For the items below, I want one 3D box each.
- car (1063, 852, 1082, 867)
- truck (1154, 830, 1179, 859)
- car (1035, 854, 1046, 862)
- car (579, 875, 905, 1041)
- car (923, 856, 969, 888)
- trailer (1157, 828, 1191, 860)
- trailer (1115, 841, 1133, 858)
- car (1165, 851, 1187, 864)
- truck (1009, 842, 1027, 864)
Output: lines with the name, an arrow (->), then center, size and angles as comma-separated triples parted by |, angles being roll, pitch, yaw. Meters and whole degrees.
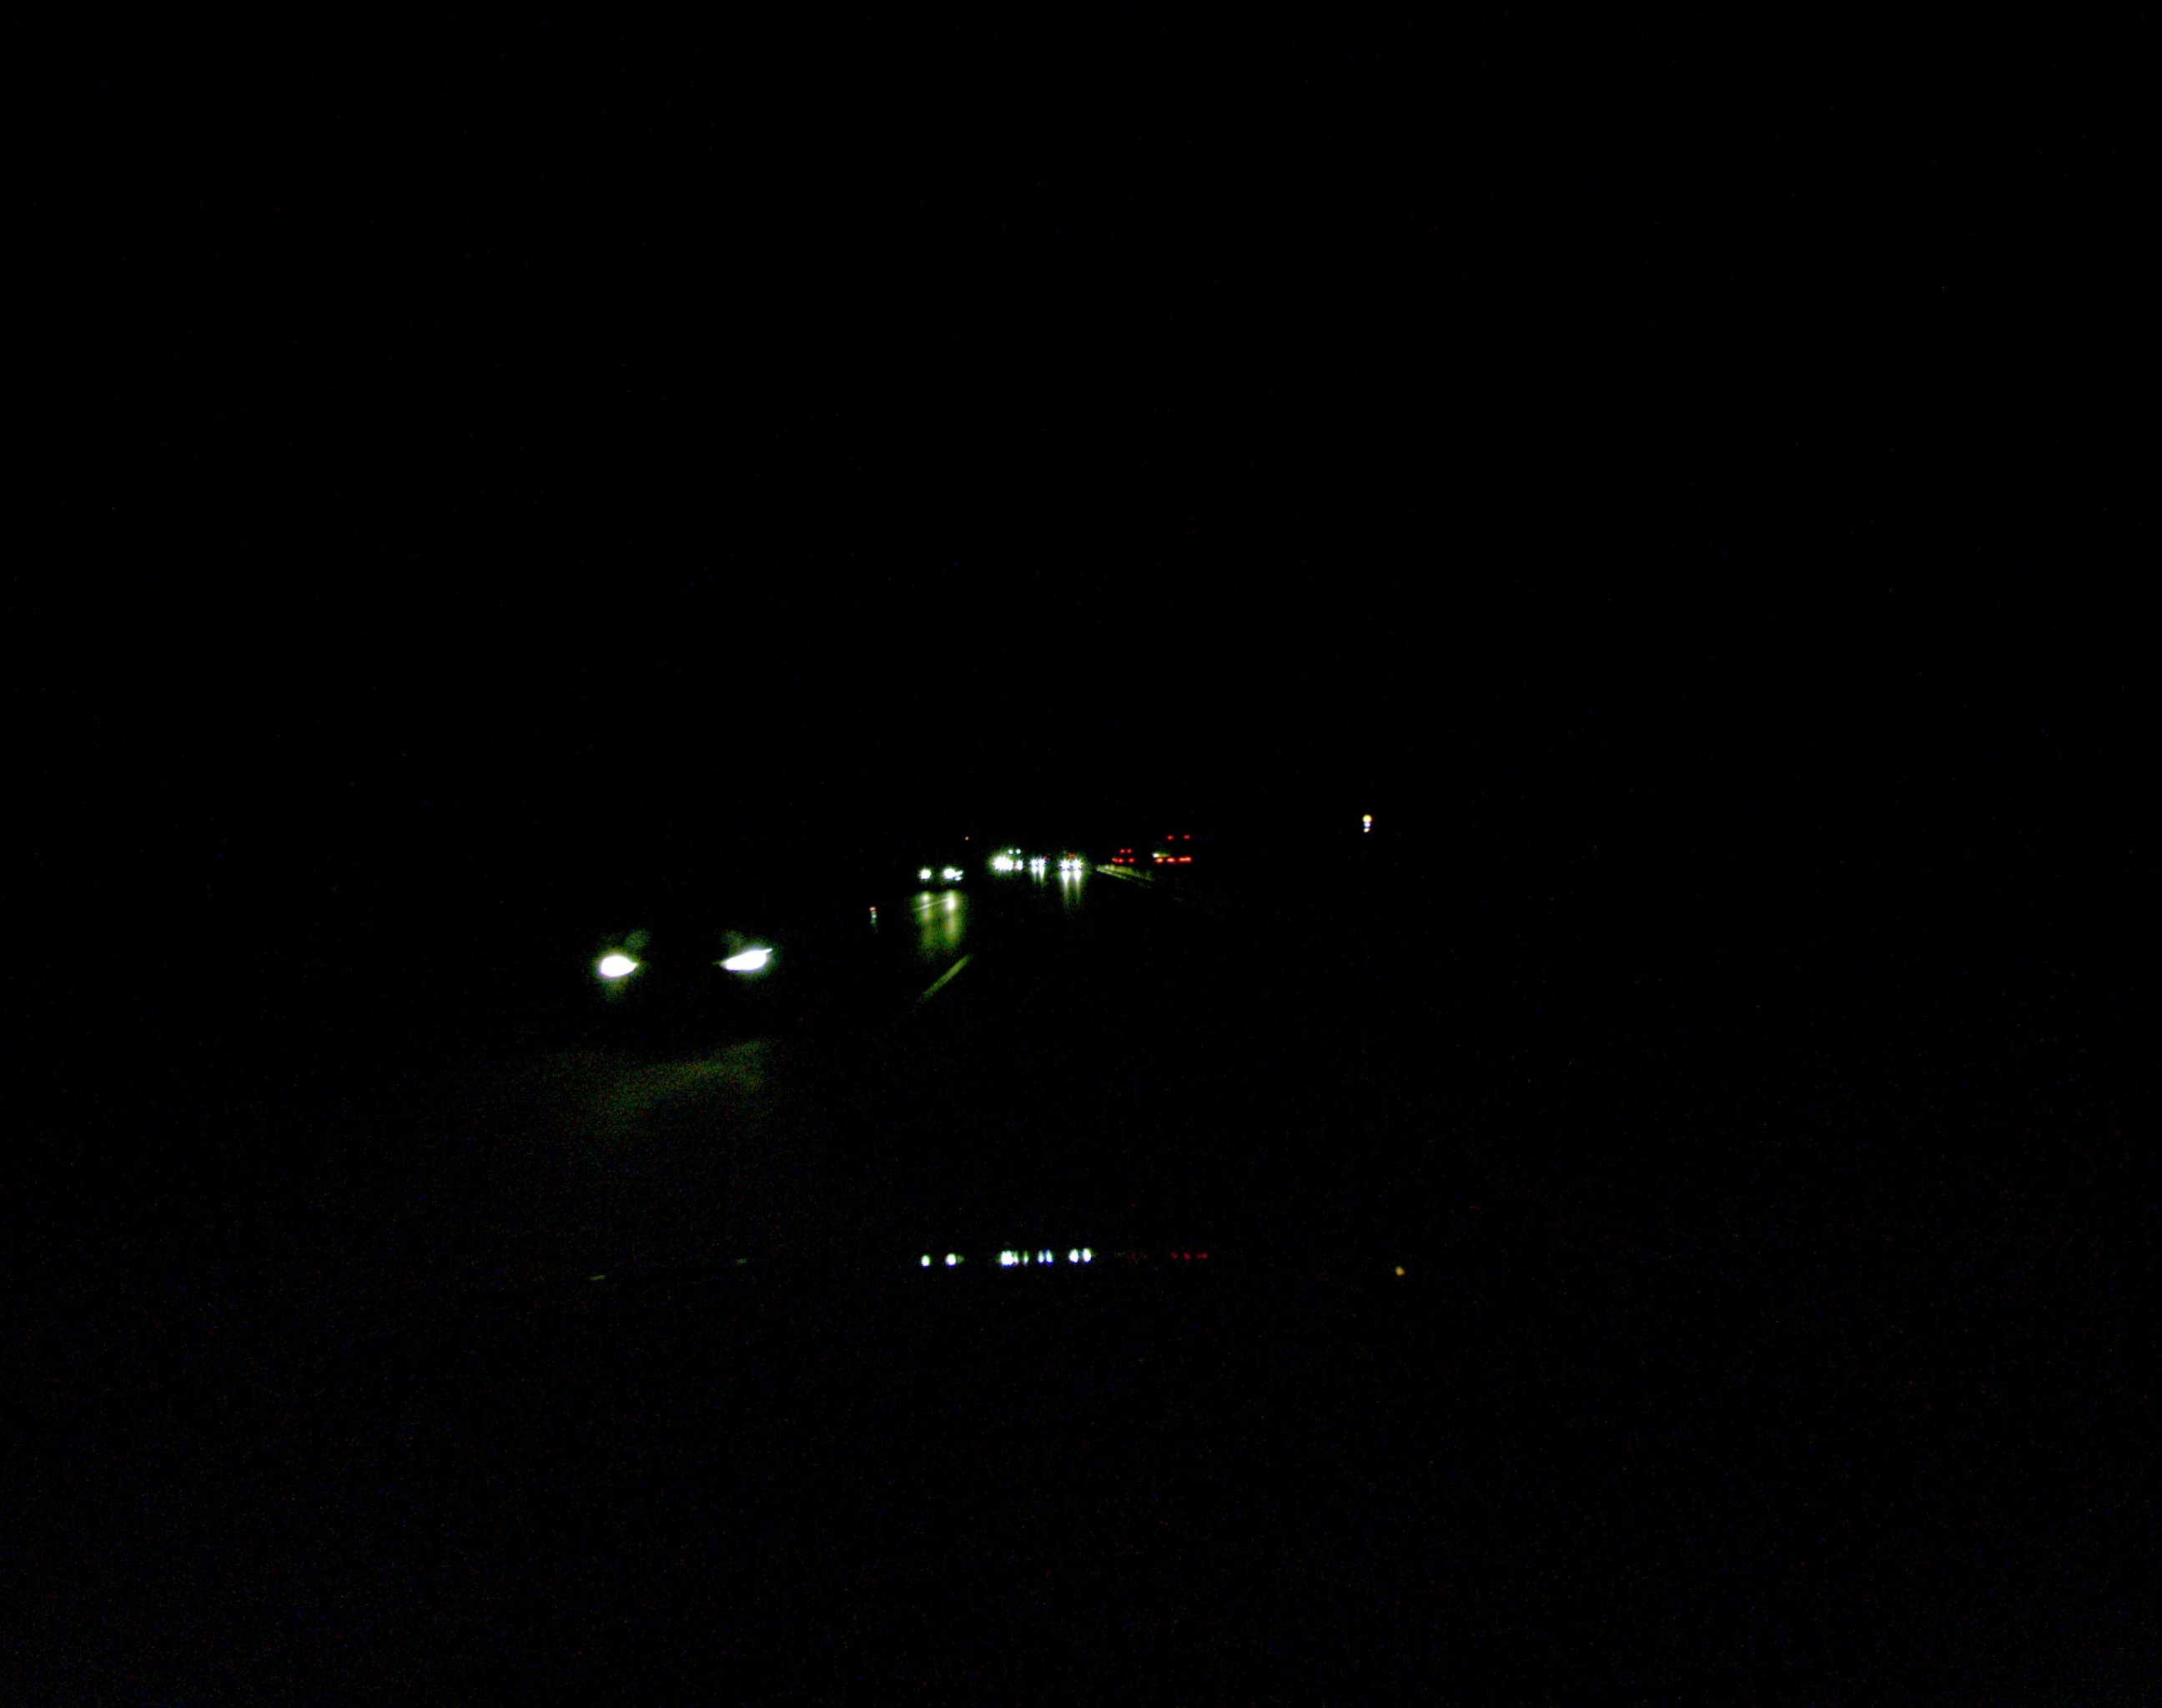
car -> -0.998, 0.669, 90.693 | 2.012, 1.652, 4.000 | -2, 0, 1
truck -> 13.647, -1.465, 121.620 | 2.860, 4.407, 6.395 | -2, 1, -2
car -> -8.283, 0.843, 155.173 | 1.940, 1.608, 3.998 | -2, 0, -4
car -> -3.802, 1.056, 9.748 | 1.839, 1.393, 5.069 | -2, 0, 0
car -> -7.888, 1.008, 44.940 | 1.999, 1.707, 5.166 | -2, 0, -3
trailer -> 13.839, -1.411, 114.852 | 2.860, 4.407, 13.977 | -2, 0, -2
trailer -> 9.842, -1.050, 175.557 | 3.065, 3.667, 11.684 | -2, 0, -1
car -> 10.766, 0.365, 86.639 | 1.818, 1.444, 4.133 | -2, 0, -2
truck -> -13.604, -0.231, 163.233 | 3.348, 4.407, 6.988 | -3, 0, -8
